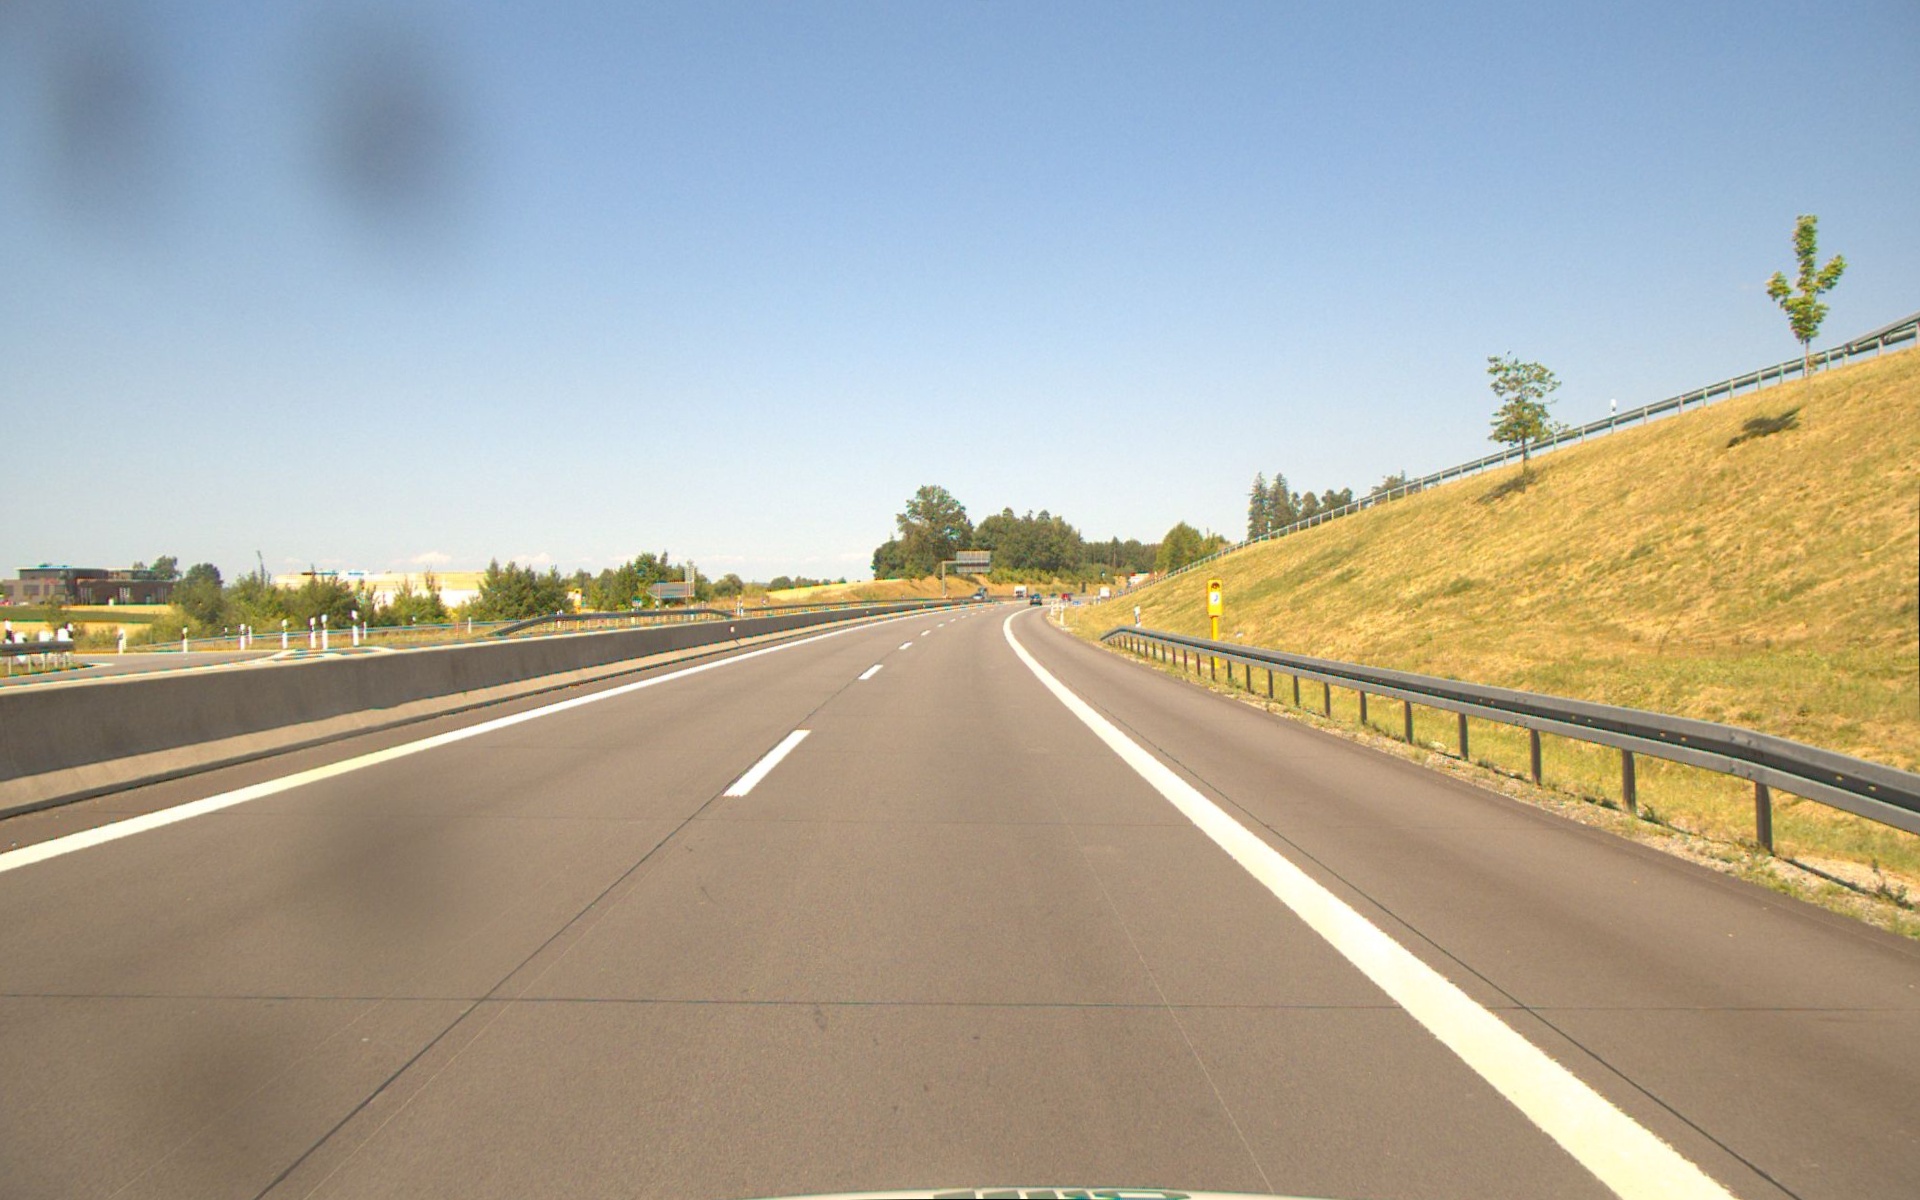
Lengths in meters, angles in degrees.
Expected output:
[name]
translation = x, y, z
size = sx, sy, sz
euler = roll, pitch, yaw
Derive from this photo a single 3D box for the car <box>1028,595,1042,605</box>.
[car]
translation = 11.209, 0.010, 247.693
size = 1.951, 1.445, 4.002
euler = -2, 0, 4
